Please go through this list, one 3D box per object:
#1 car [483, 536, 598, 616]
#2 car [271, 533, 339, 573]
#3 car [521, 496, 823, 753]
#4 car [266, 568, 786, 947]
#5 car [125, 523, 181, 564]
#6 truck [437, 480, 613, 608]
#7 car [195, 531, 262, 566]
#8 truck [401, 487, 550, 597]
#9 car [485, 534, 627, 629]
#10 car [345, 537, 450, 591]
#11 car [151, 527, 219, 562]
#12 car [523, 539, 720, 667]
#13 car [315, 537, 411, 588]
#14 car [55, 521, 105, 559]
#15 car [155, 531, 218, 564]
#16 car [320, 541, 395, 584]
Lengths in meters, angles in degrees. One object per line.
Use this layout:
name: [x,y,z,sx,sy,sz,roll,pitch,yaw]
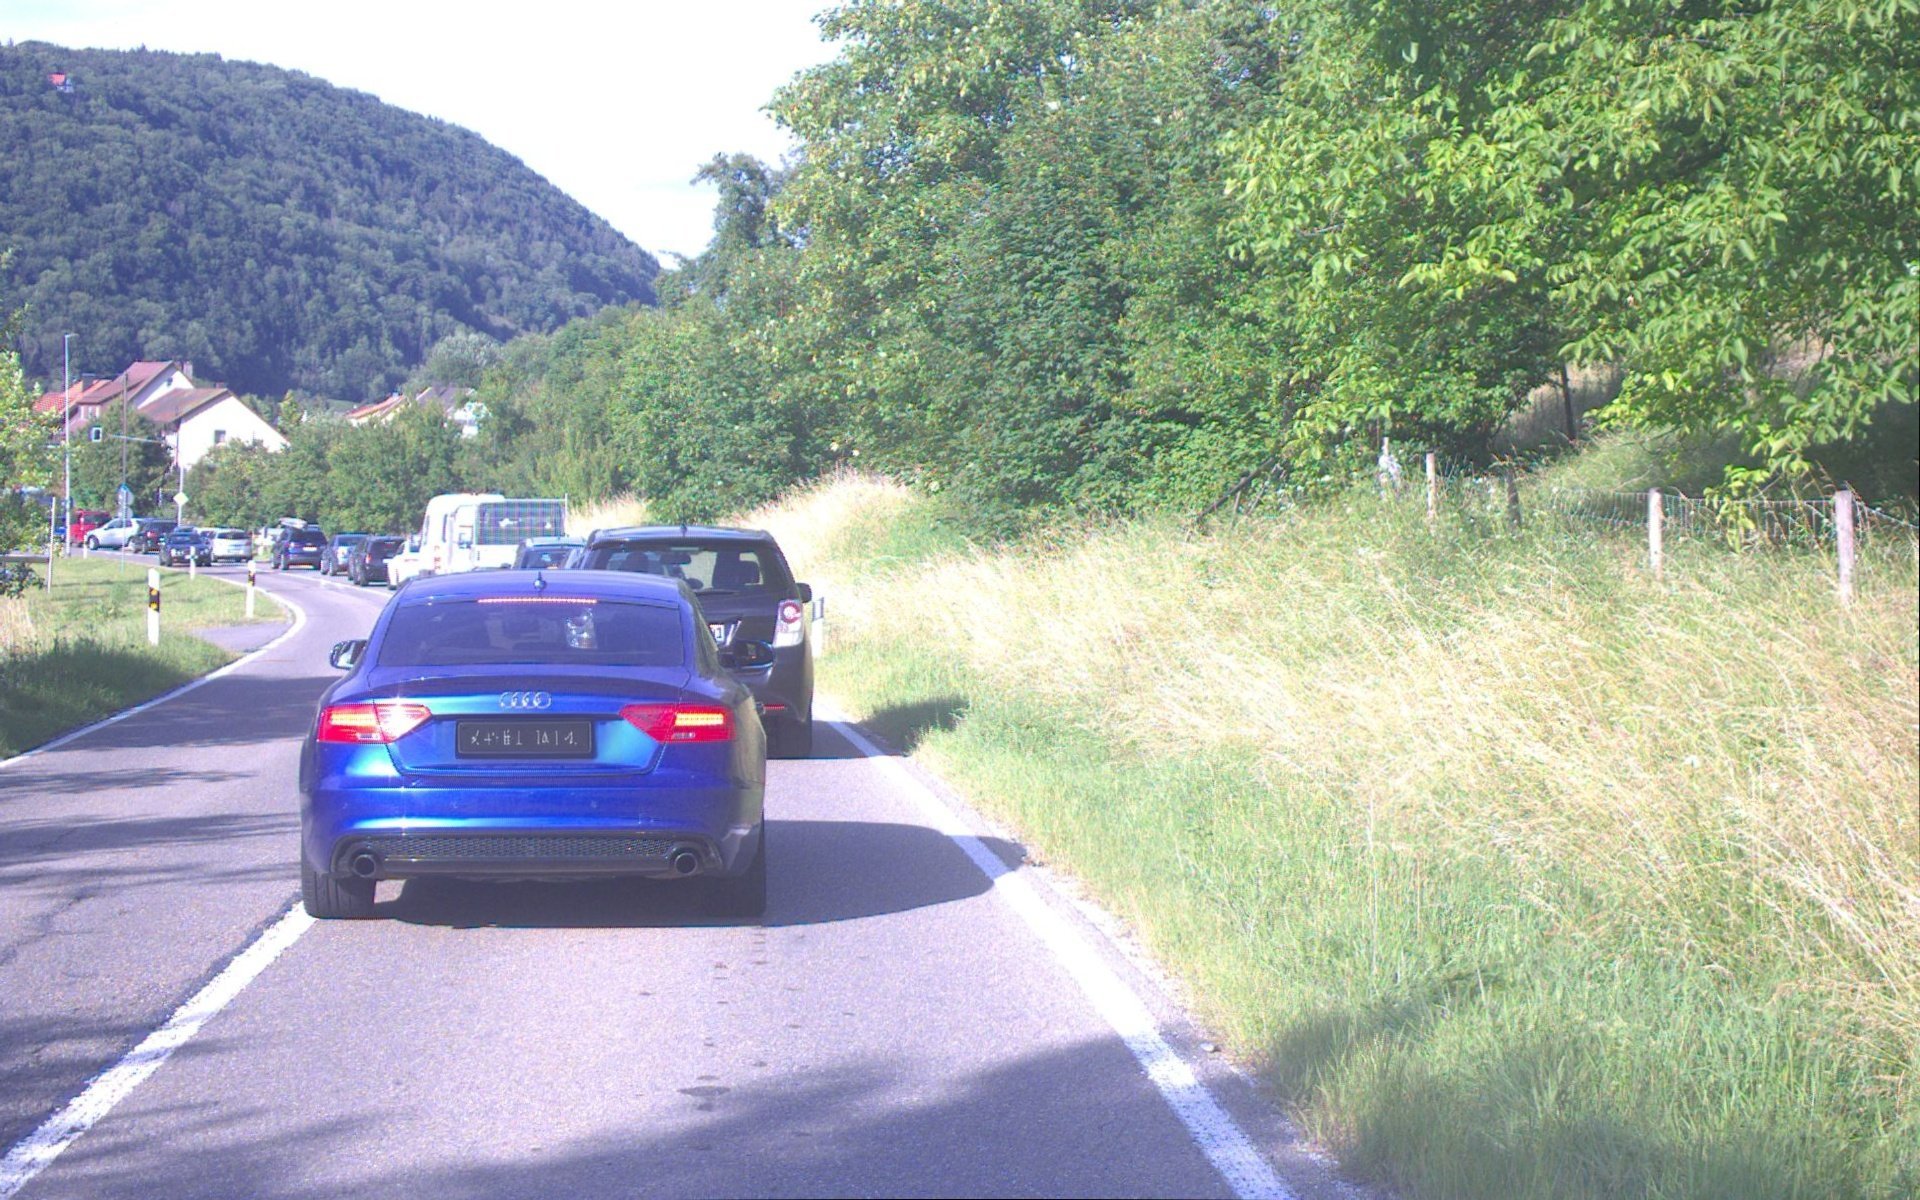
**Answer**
car: [-8.056,-0.469,65.801,1.993,1.477,4.001,0,1,-9]
car: [-25.096,-1.788,131.636,1.993,1.477,4.001,0,1,-19]
car: [-1.997,0.146,24.875,1.993,1.696,4.000,1,1,-2]
car: [-1.693,0.558,14.615,1.793,1.355,4.000,0,1,-1]
car: [-39.889,-2.782,169.864,1.993,2.007,4.001,0,1,-23]
truck: [-9.905,-1.262,77.232,2.863,2.656,10.396,0,1,-13]
car: [-31.616,-2.240,148.540,1.993,1.477,4.001,0,1,-25]
truck: [-12.600,-1.495,88.628,2.863,2.656,10.648,0,1,-13]
car: [-6.584,-0.306,55.722,1.993,1.477,4.001,0,1,-11]
car: [-15.640,-1.002,95.436,1.993,1.477,4.001,0,1,-23]
car: [-31.195,-2.230,138.322,1.993,1.371,4.001,0,1,-22]
car: [-3.941,0.010,39.511,1.993,1.382,4.001,0,1,-9]
car: [-17.877,-1.120,102.765,1.993,1.477,4.001,0,1,-23]
car: [-47.968,-3.271,187.327,1.993,2.007,4.001,0,1,-23]
car: [-35.055,-2.371,155.802,1.993,1.477,4.001,0,1,-25]
car: [-21.100,-1.306,120.264,1.993,1.477,4.001,0,1,-19]
